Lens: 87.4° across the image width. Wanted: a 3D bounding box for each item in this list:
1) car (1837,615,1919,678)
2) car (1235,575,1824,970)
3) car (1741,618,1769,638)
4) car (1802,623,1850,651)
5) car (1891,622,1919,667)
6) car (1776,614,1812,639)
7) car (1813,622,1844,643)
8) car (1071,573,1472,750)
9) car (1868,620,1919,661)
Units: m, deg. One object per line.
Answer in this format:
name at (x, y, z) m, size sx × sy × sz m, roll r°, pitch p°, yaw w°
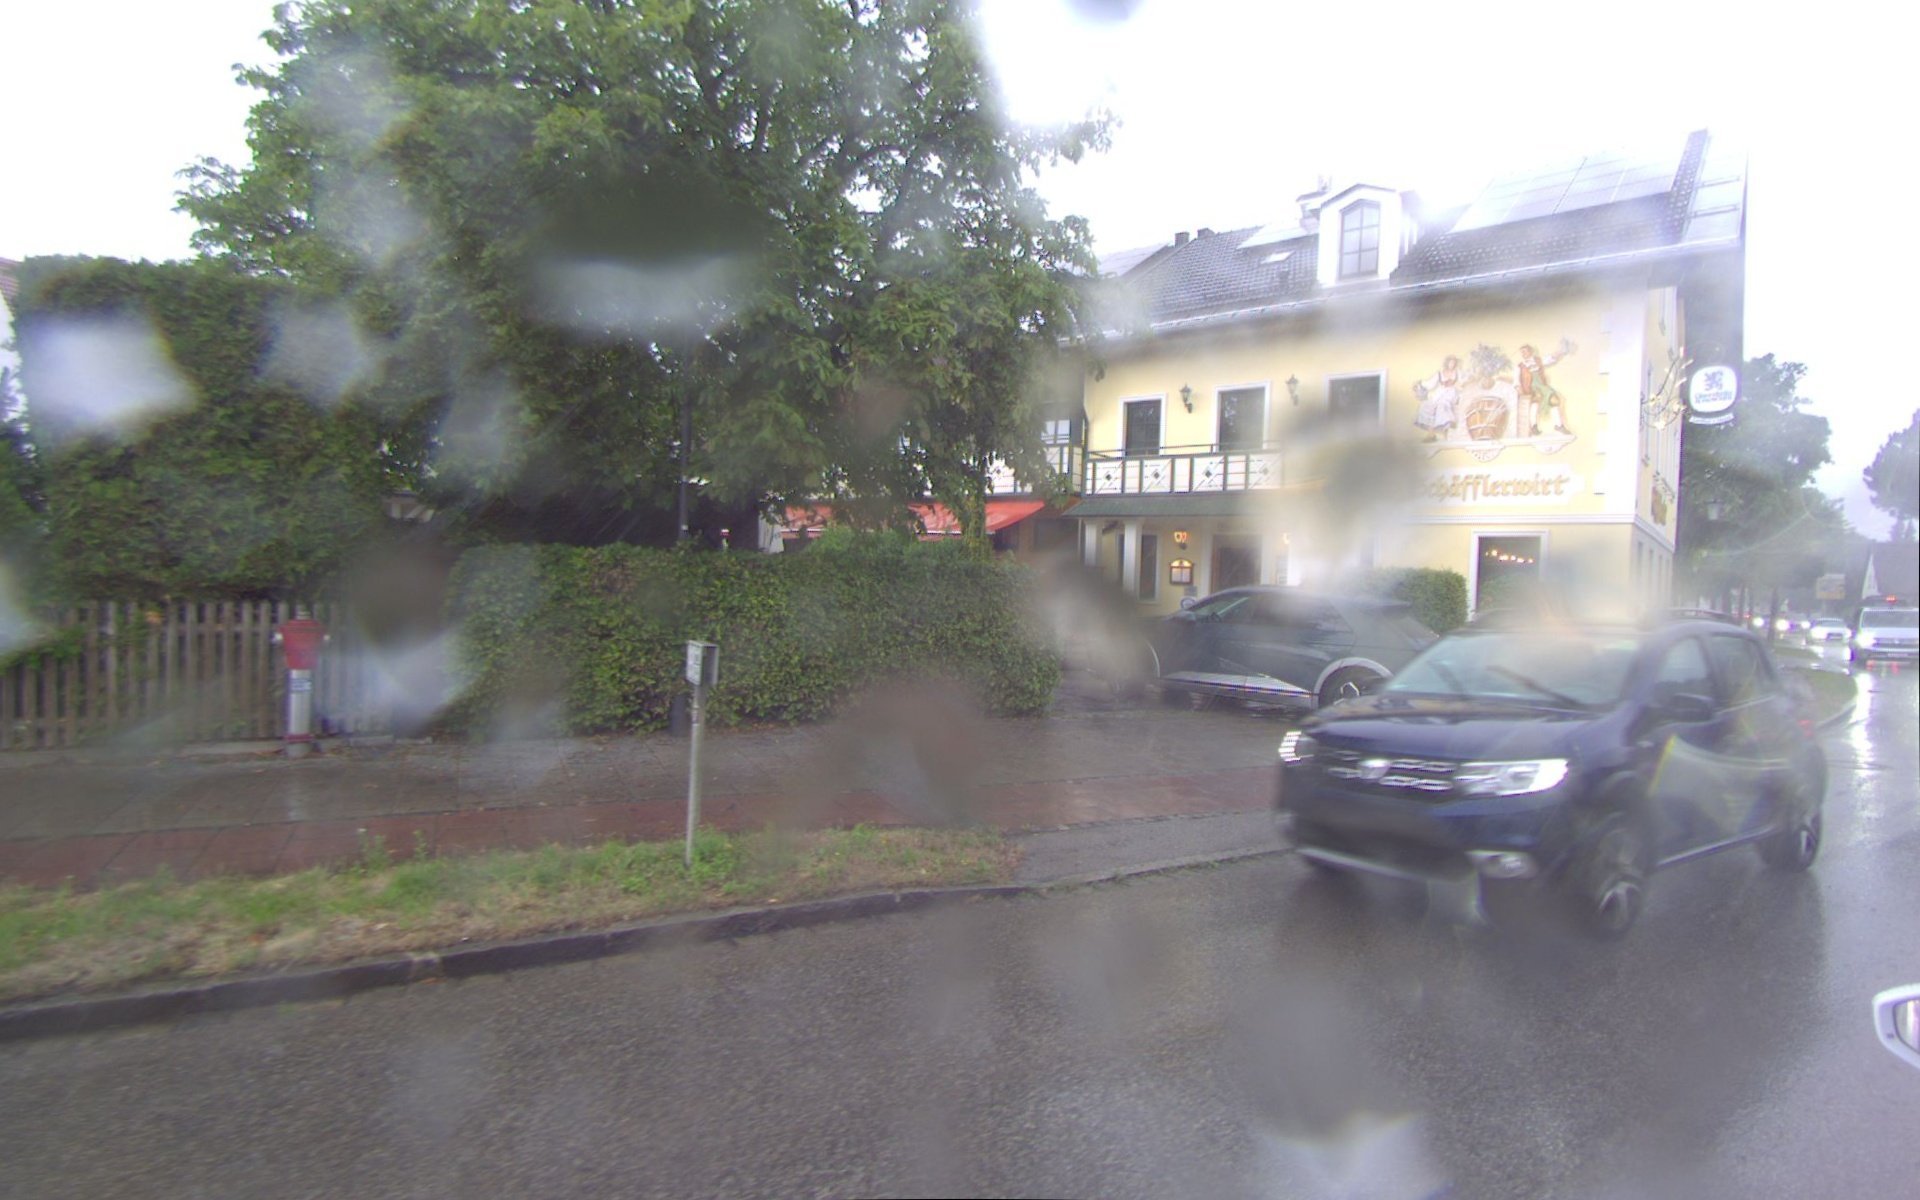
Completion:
car at (31.585, 1.574, 34.492) m, size 1.827 × 1.997 × 4.684 m, roll 0°, pitch -1°, yaw 37°
car at (3.389, 0.758, 5.807) m, size 3.502 × 1.631 × 1.577 m, roll 2°, pitch -1°, yaw -34°
car at (70.120, 2.462, 88.550) m, size 1.840 × 1.781 × 4.462 m, roll -2°, pitch -2°, yaw 39°
car at (47.308, 1.974, 54.917) m, size 1.840 × 1.377 × 4.463 m, roll 0°, pitch 0°, yaw 39°
car at (45.718, 2.097, 47.369) m, size 2.142 × 1.925 × 4.993 m, roll 3°, pitch 2°, yaw 38°
car at (59.522, 1.890, 71.733) m, size 1.840 × 1.781 × 4.462 m, roll -2°, pitch -2°, yaw 39°
car at (90.153, 3.356, 104.336) m, size 2.142 × 1.925 × 4.993 m, roll 3°, pitch 2°, yaw 38°
car at (3.814, 0.601, 12.718) m, size 4.418 × 1.589 × 1.832 m, roll 6°, pitch 5°, yaw 37°
car at (50.810, 2.147, 54.254) m, size 2.142 × 1.925 × 4.993 m, roll 3°, pitch 2°, yaw 38°
